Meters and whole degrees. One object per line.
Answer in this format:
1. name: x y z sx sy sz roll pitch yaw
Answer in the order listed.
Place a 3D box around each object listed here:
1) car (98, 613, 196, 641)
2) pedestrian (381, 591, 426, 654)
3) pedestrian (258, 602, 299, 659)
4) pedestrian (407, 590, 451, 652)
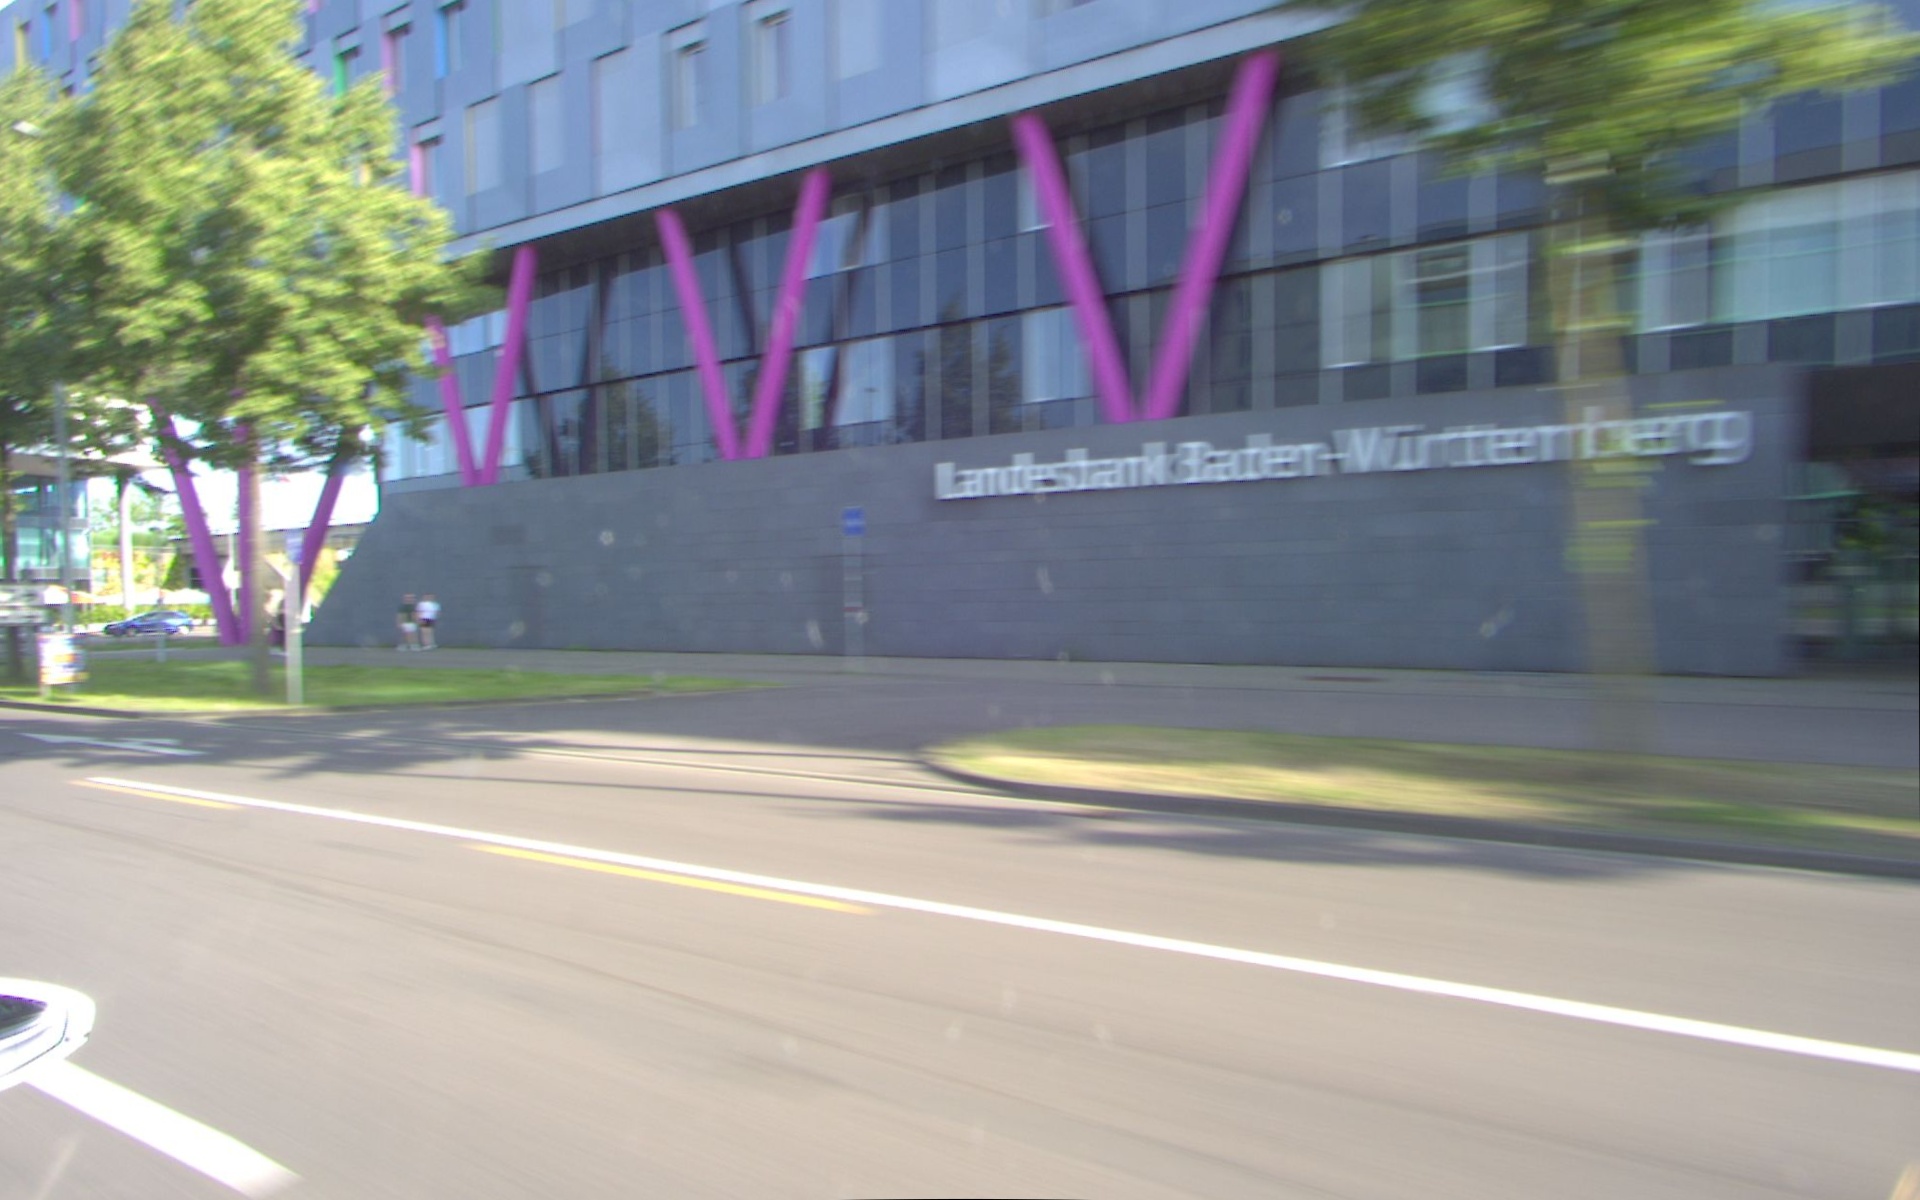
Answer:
1. car: -48.819 1.595 60.237 1.830 1.443 4.180 0 1 27
2. pedestrian: -16.617 0.667 29.910 0.830 1.818 0.753 0 3 27
3. pedestrian: -20.512 0.918 30.152 0.725 1.661 0.693 0 3 27
4. pedestrian: -16.100 0.629 30.356 0.839 1.850 0.767 0 3 27
